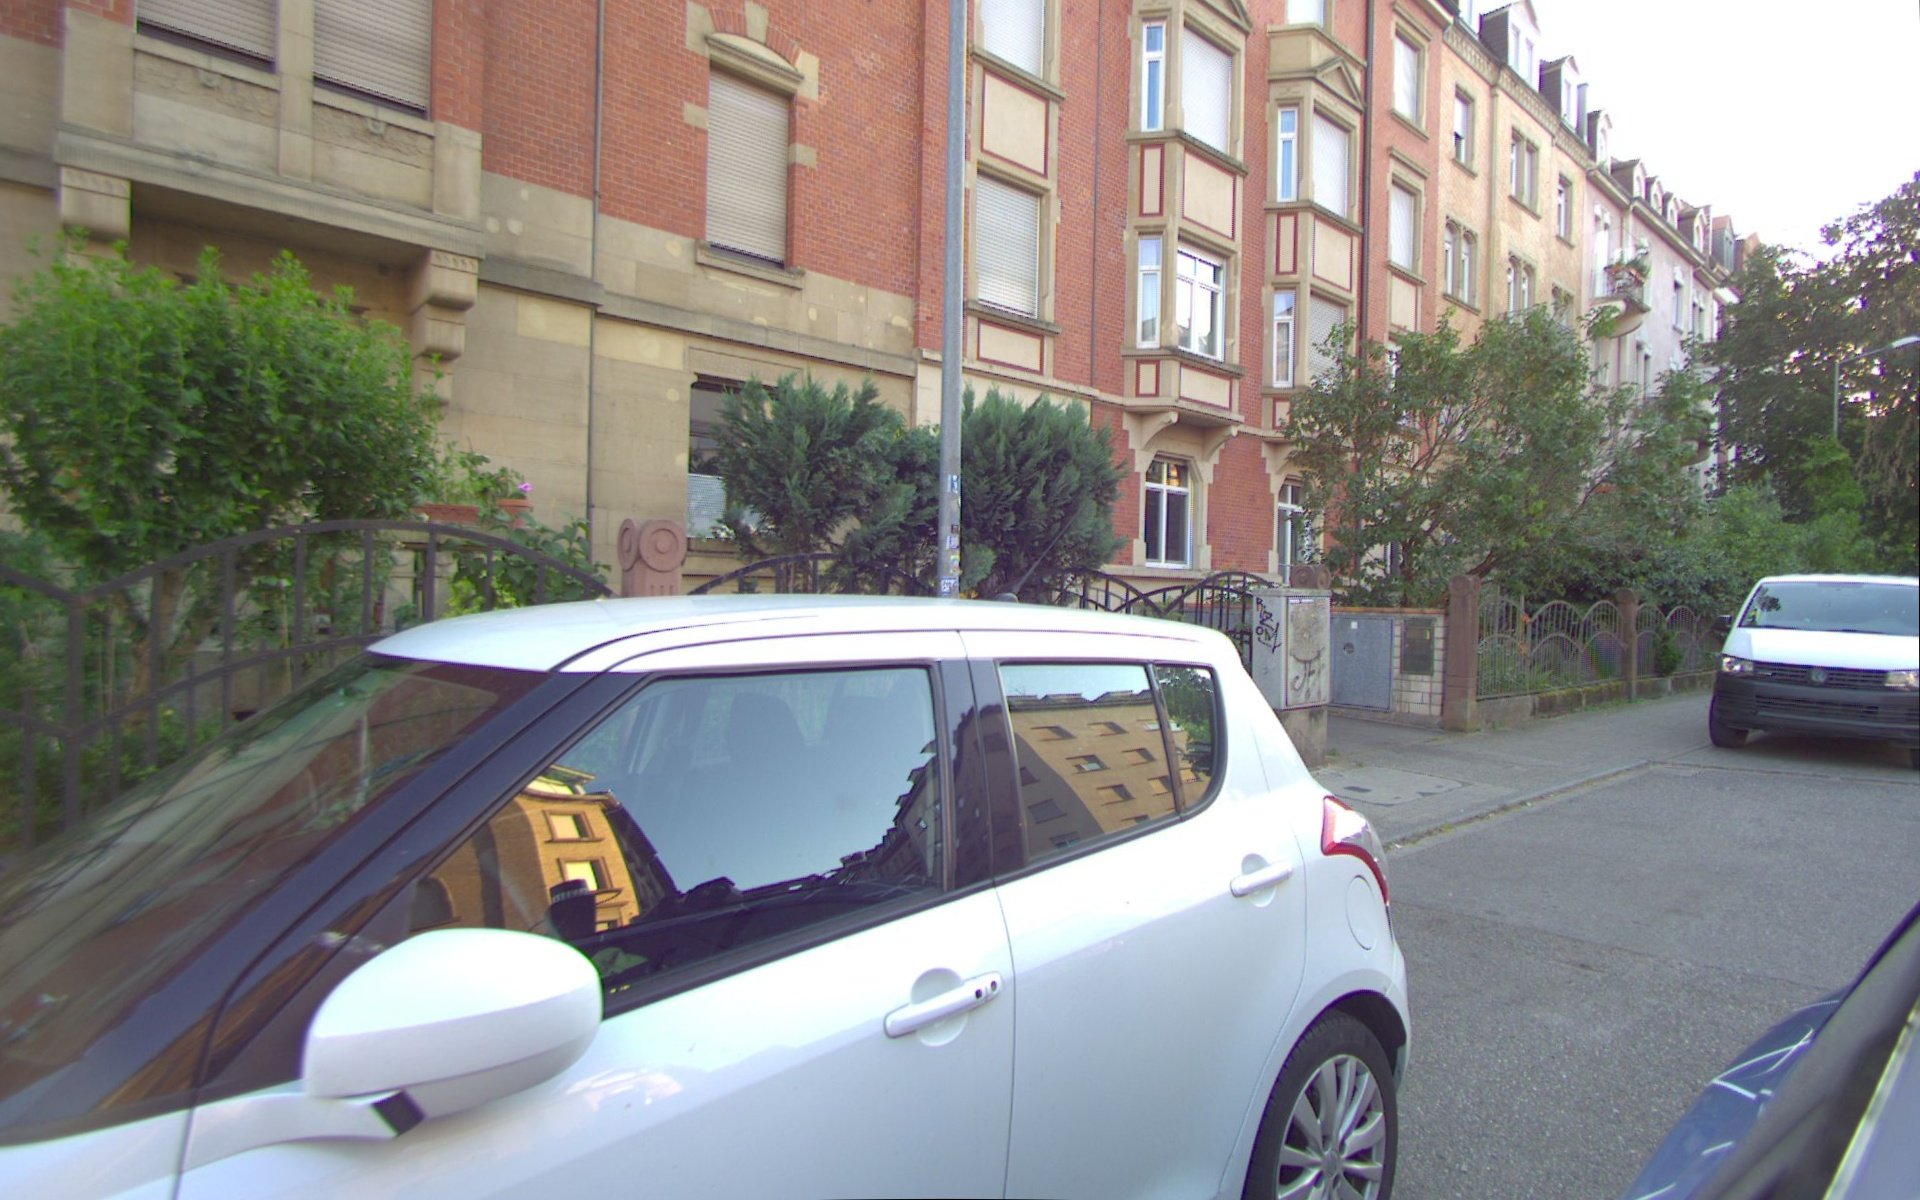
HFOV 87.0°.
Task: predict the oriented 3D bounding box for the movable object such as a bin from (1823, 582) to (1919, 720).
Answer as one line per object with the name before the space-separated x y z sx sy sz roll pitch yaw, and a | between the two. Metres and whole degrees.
movable object such as a bin | 14.159 0.730 15.241 2.285 1.901 1.414 1 2 -42

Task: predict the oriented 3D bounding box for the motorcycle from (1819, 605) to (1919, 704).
motorcycle | 15.632 0.895 16.539 2.066 1.500 1.128 3 2 16

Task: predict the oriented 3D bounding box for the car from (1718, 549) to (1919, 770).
car | 10.680 0.558 11.839 5.450 2.064 1.864 1 2 -43

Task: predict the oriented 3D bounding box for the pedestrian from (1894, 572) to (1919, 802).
pedestrian | 7.662 0.655 7.365 0.945 1.744 0.886 0 -1 16

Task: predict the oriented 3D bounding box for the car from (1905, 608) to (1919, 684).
car | 22.606 0.982 22.476 4.754 1.602 1.760 1 -1 -39

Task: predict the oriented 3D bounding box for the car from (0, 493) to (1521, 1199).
car | -0.596 0.663 1.995 3.791 1.496 1.678 1 0 -39

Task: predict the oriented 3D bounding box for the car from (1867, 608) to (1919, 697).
car | 18.700 0.950 19.103 4.247 1.571 1.724 1 0 -39
